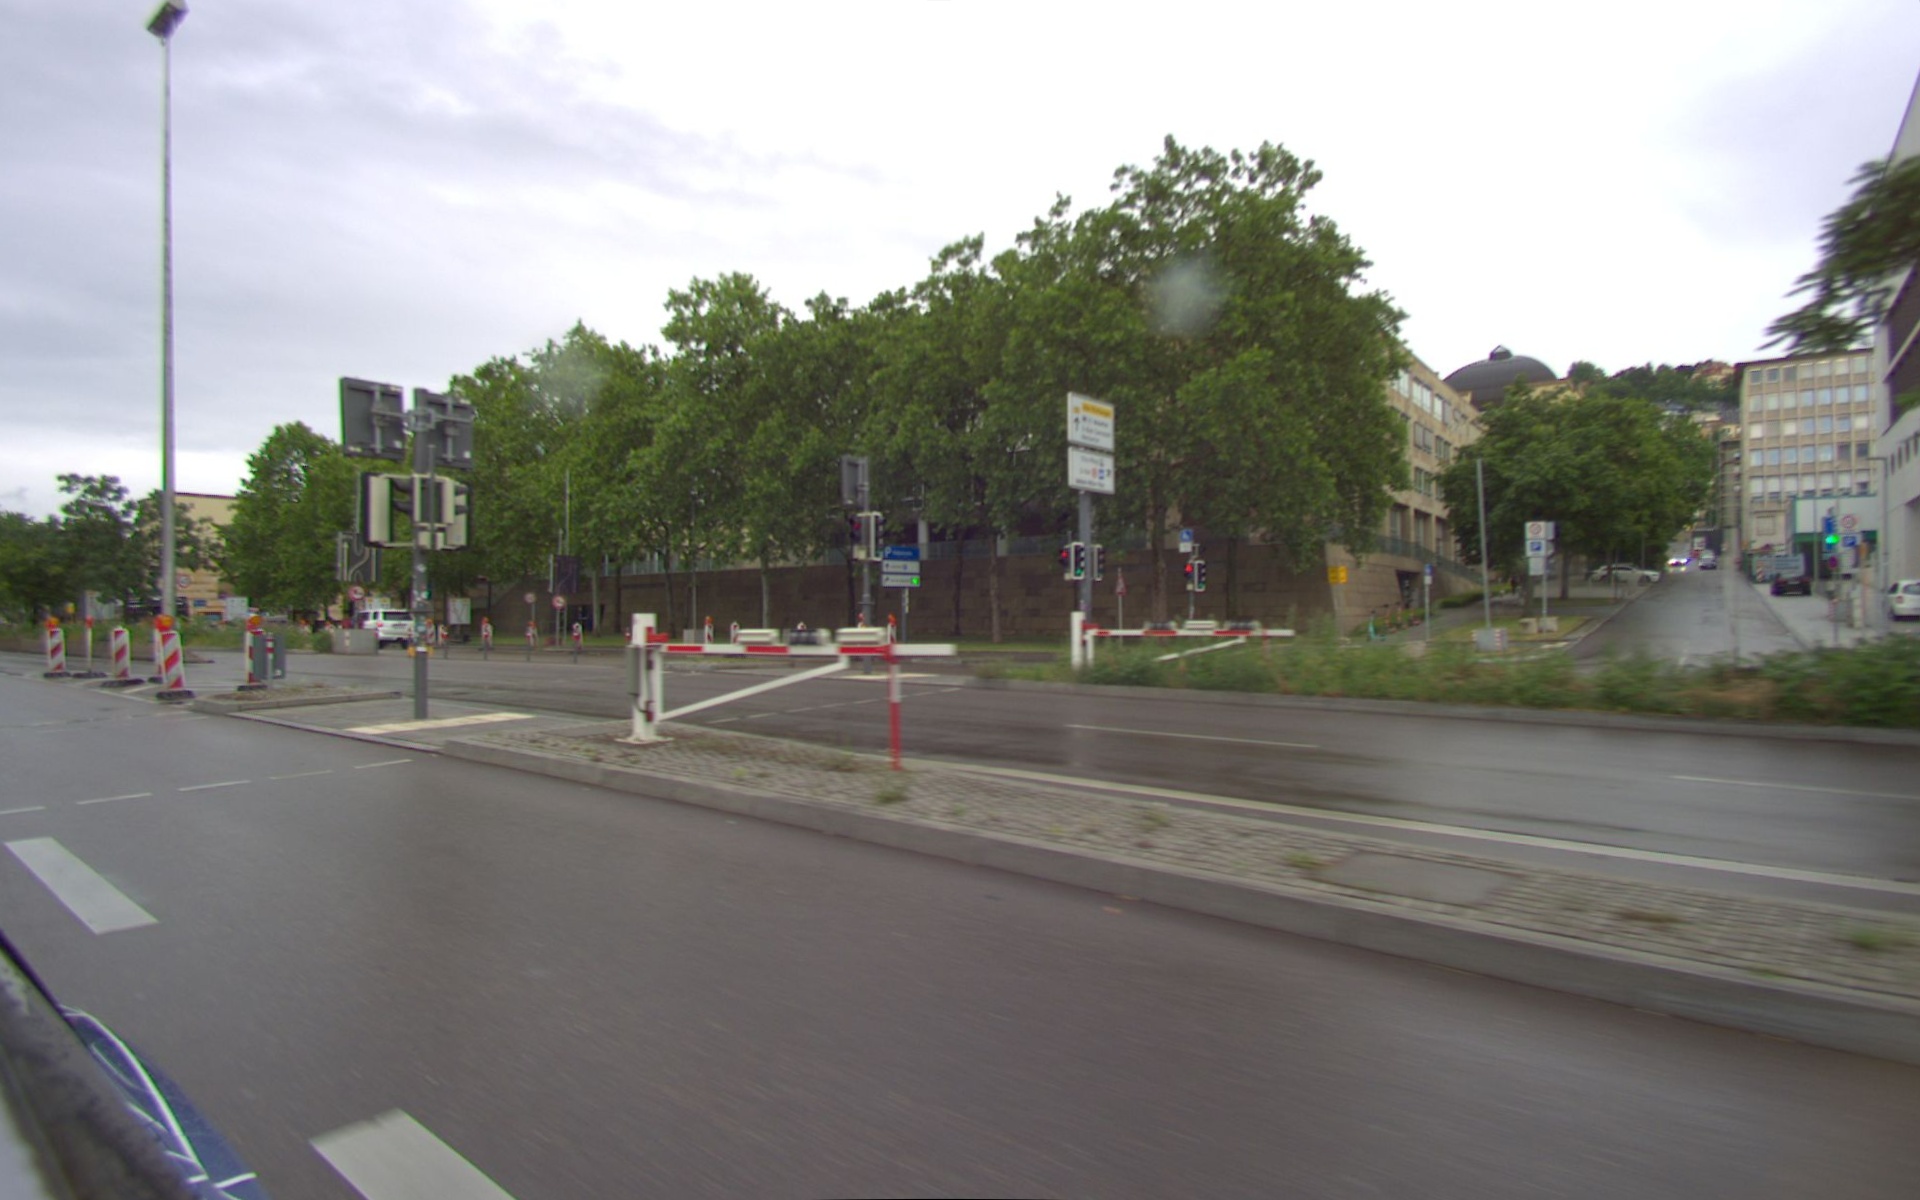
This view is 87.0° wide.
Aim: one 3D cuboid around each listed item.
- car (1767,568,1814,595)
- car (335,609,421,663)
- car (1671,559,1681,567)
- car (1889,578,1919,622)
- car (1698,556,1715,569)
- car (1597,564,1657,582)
[{"bbox_3d":[49.085,-1.084,59.882,2.034,1.472,3.685,-1,0,38],"label":"car"},{"bbox_3d":[-27.008,1.631,46.892,4.222,2.316,1.975,-1,0,38],"label":"car"},{"bbox_3d":[97.413,-5.045,137.718,1.008,0.921,2.480,-1,0,39],"label":"car"},{"bbox_3d":[36.524,-0.036,38.314,1.759,1.624,3.486,-1,0,39],"label":"car"},{"bbox_3d":[92.679,-4.690,125.603,1.591,1.490,3.140,-1,0,39],"label":"car"},{"bbox_3d":[53.933,-2.154,81.892,3.959,1.375,1.589,-1,0,38],"label":"car"}]
